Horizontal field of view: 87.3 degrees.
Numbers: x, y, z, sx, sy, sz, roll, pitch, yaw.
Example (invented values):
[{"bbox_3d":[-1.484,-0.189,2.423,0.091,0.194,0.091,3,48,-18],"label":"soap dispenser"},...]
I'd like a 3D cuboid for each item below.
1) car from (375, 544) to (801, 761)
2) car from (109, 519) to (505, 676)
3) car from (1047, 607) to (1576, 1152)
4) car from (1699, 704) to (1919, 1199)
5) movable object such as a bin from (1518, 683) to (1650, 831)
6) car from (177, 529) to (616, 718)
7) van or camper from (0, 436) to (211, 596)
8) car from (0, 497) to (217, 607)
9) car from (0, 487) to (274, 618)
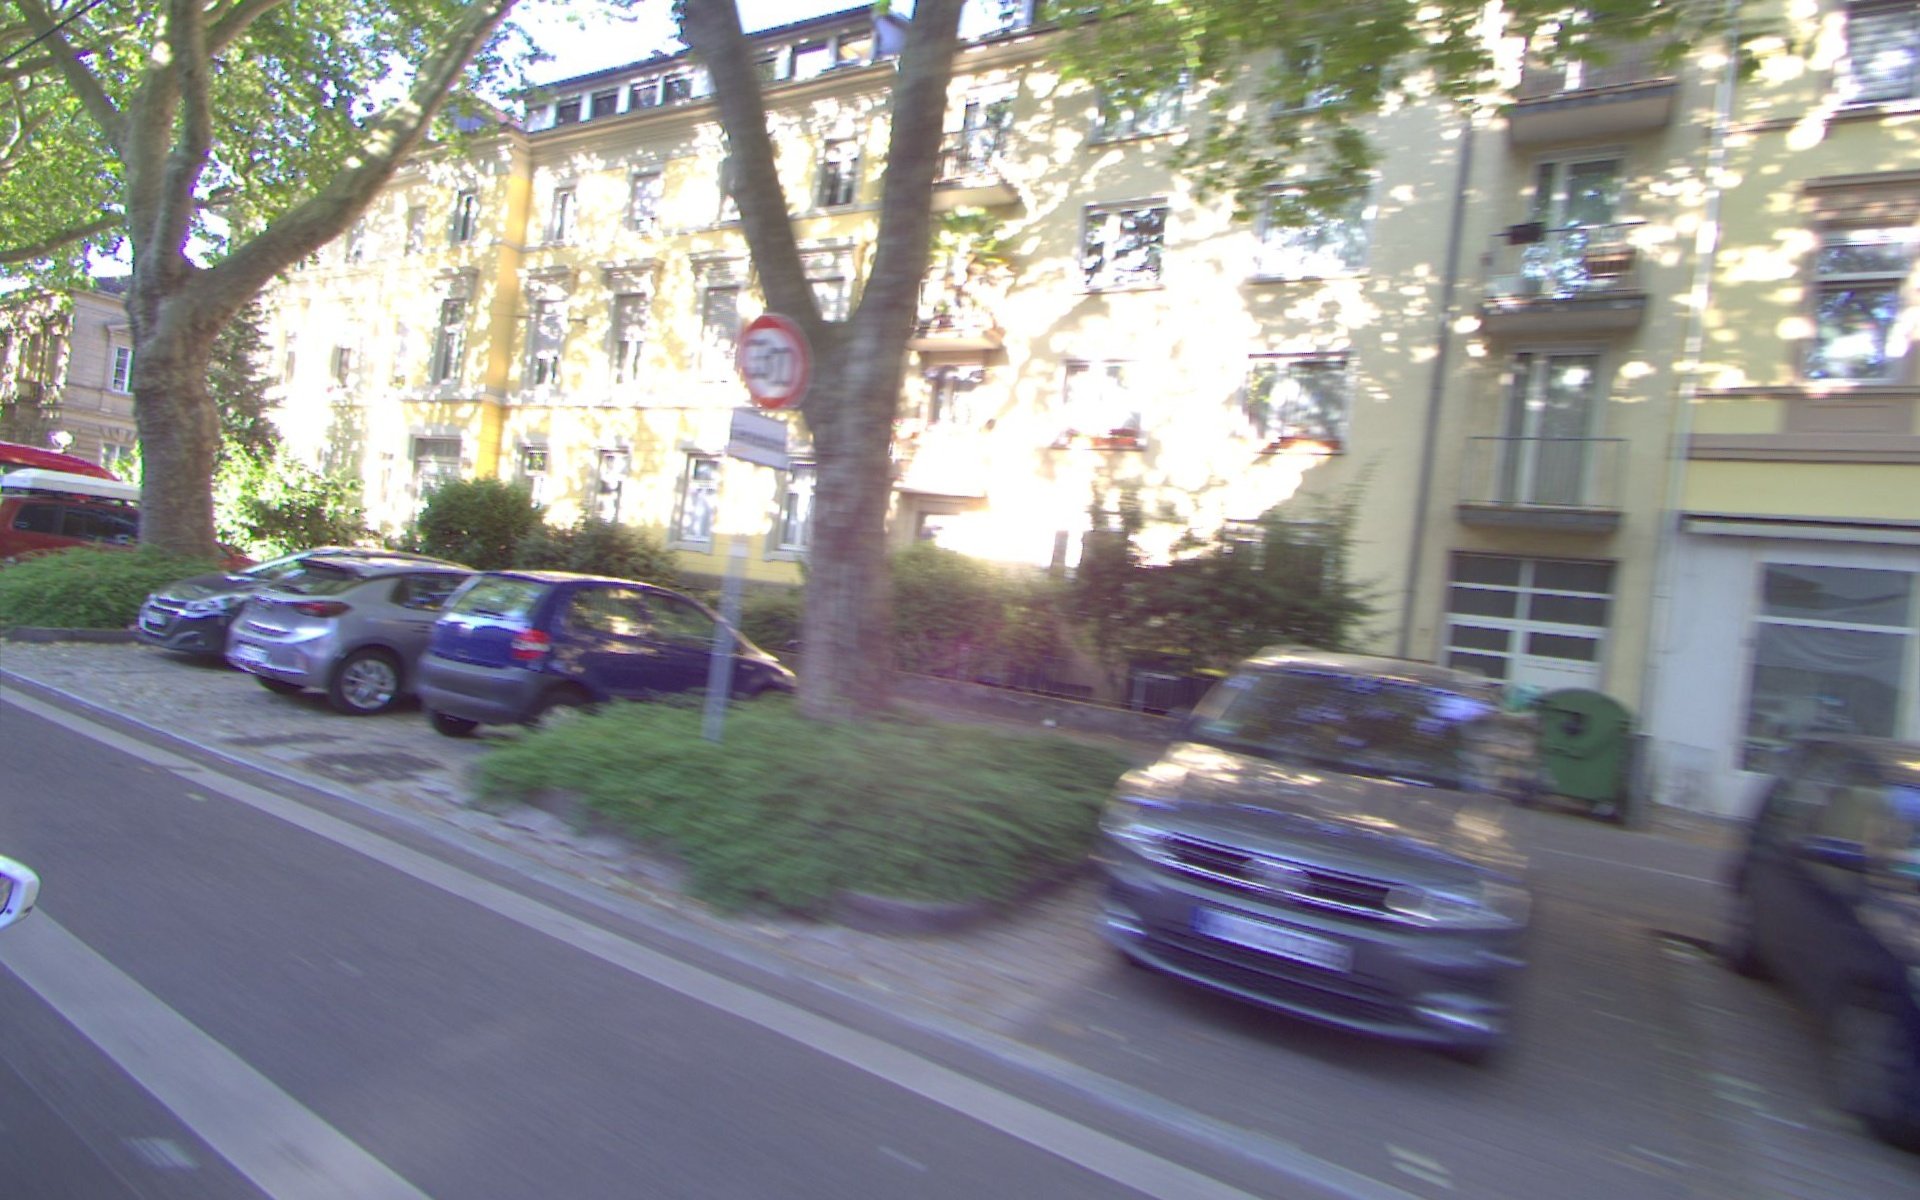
[{"bbox_3d":[-3.383,0.547,9.794,1.515,1.618,3.601,6,-2,32],"label":"car"},{"bbox_3d":[-7.863,0.031,12.447,1.665,1.543,3.673,7,1,31],"label":"car"},{"bbox_3d":[2.285,1.080,5.833,1.817,1.741,4.267,7,1,29],"label":"car"},{"bbox_3d":[5.028,1.493,4.887,1.653,1.663,4.035,7,-1,29],"label":"car"},{"bbox_3d":[7.218,1.767,11.683,1.099,1.456,1.168,7,1,32],"label":"movable object such as a bin"},{"bbox_3d":[-5.707,0.284,10.611,1.665,1.536,3.599,7,0,31],"label":"car"},{"bbox_3d":[-17.332,-1.640,17.933,2.248,2.551,5.823,8,1,29],"label":"van or camper"},{"bbox_3d":[-15.395,-0.846,17.327,1.640,1.548,3.741,7,0,29],"label":"car"},{"bbox_3d":[-13.327,-0.704,15.758,1.737,1.669,3.824,5,0,29],"label":"car"}]
